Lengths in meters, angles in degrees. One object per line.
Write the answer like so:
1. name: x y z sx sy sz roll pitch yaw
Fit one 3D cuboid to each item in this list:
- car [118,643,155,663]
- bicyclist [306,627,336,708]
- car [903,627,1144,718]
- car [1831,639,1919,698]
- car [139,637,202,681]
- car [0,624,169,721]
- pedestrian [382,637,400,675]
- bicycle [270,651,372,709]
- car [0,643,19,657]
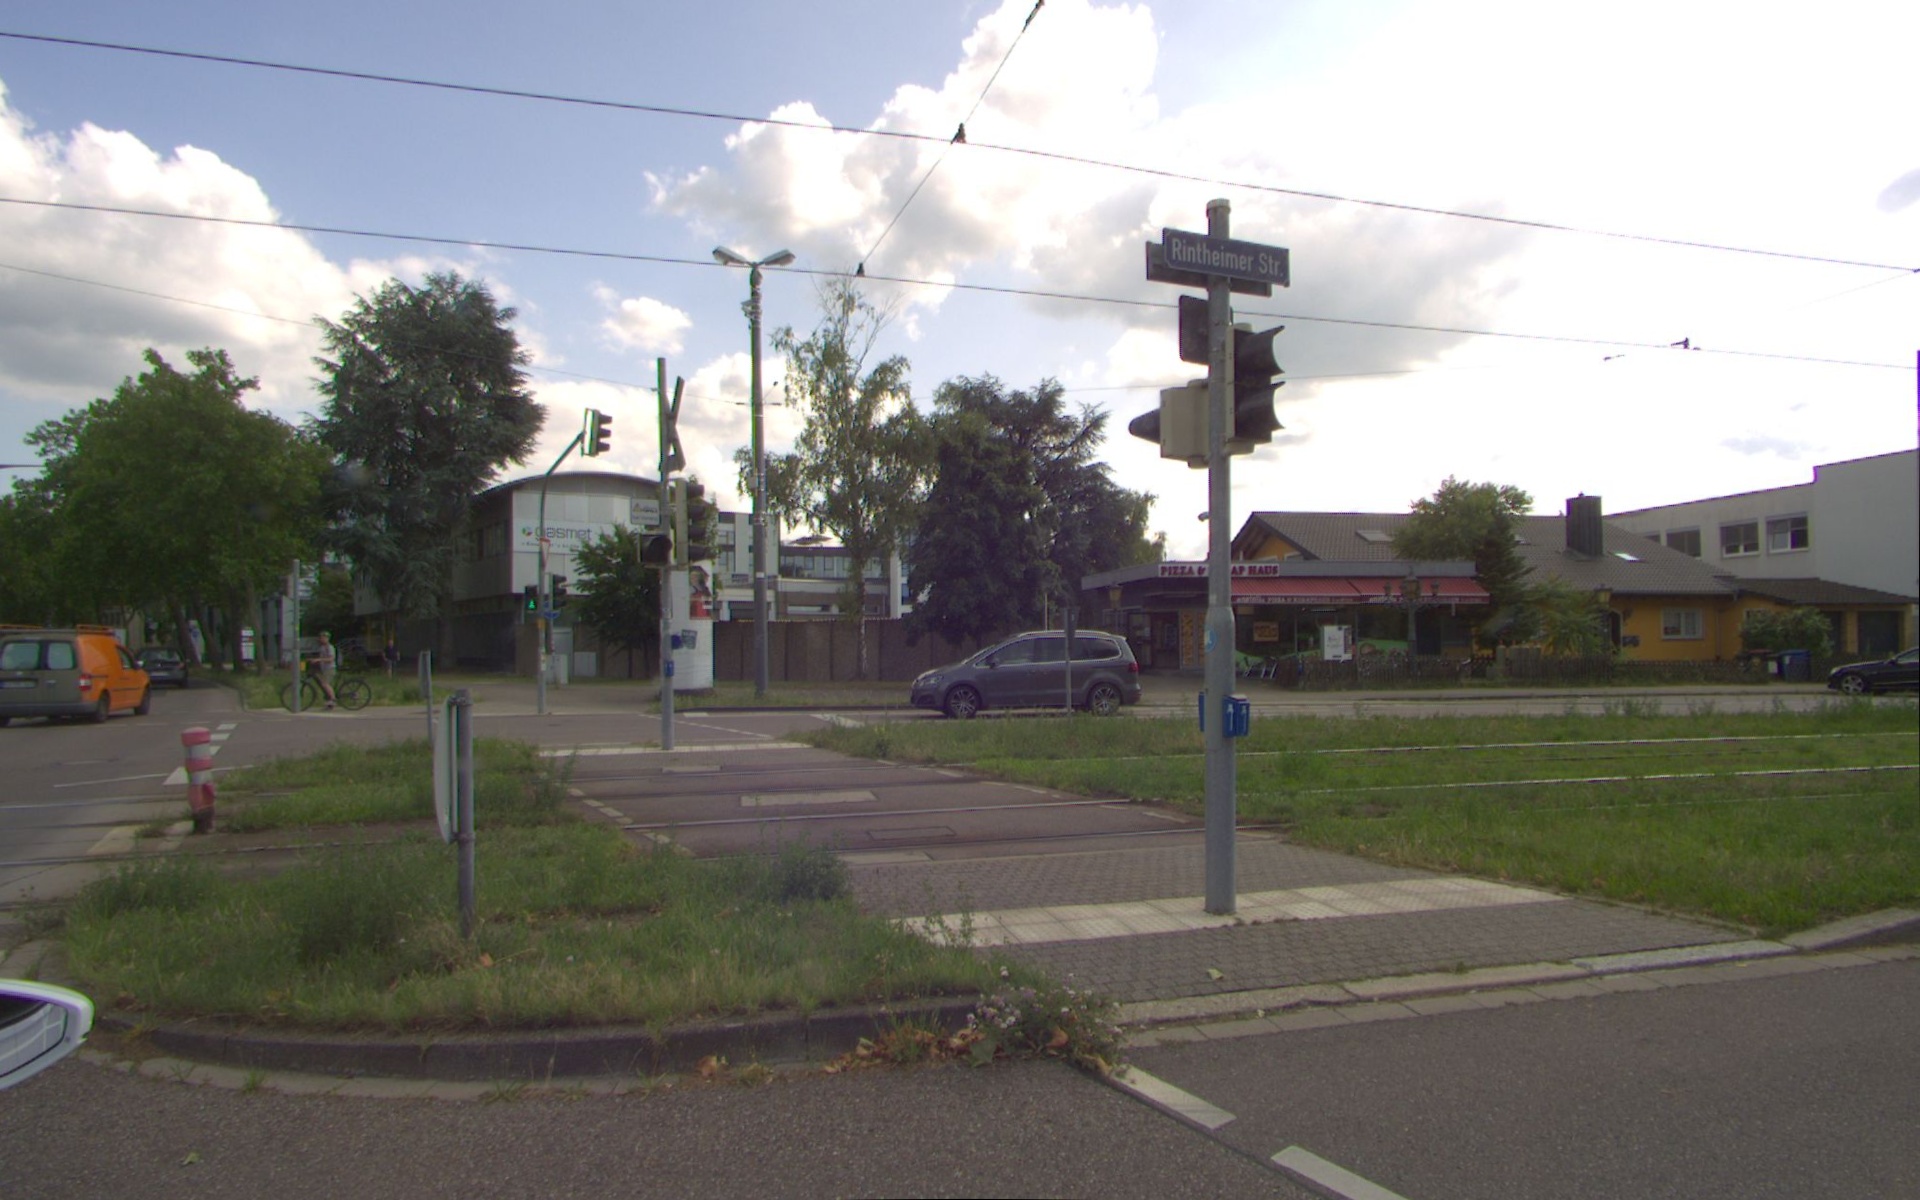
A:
1. car: -73.925 4.712 89.879 3.955 1.595 1.983 0 0 42
2. bicyclist: -14.767 1.543 23.148 0.536 1.833 0.538 1 0 -27
3. car: 1.237 1.459 20.700 4.650 1.743 2.000 0 -2 -9
4. car: 27.074 1.850 27.335 1.971 1.599 4.561 1 -3 -29
5. car: -30.941 2.315 39.330 1.714 1.650 4.026 1 -4 -35
6. car: -18.467 1.461 21.029 1.854 1.822 4.357 1 -2 -24
7. pedestrian: -24.637 2.424 43.351 0.615 1.590 0.555 0 0 -37
8. bicycle: -14.745 1.834 23.160 1.923 1.252 0.538 1 0 -28
9. car: -120.915 6.365 127.054 3.955 1.595 1.983 0 0 42
